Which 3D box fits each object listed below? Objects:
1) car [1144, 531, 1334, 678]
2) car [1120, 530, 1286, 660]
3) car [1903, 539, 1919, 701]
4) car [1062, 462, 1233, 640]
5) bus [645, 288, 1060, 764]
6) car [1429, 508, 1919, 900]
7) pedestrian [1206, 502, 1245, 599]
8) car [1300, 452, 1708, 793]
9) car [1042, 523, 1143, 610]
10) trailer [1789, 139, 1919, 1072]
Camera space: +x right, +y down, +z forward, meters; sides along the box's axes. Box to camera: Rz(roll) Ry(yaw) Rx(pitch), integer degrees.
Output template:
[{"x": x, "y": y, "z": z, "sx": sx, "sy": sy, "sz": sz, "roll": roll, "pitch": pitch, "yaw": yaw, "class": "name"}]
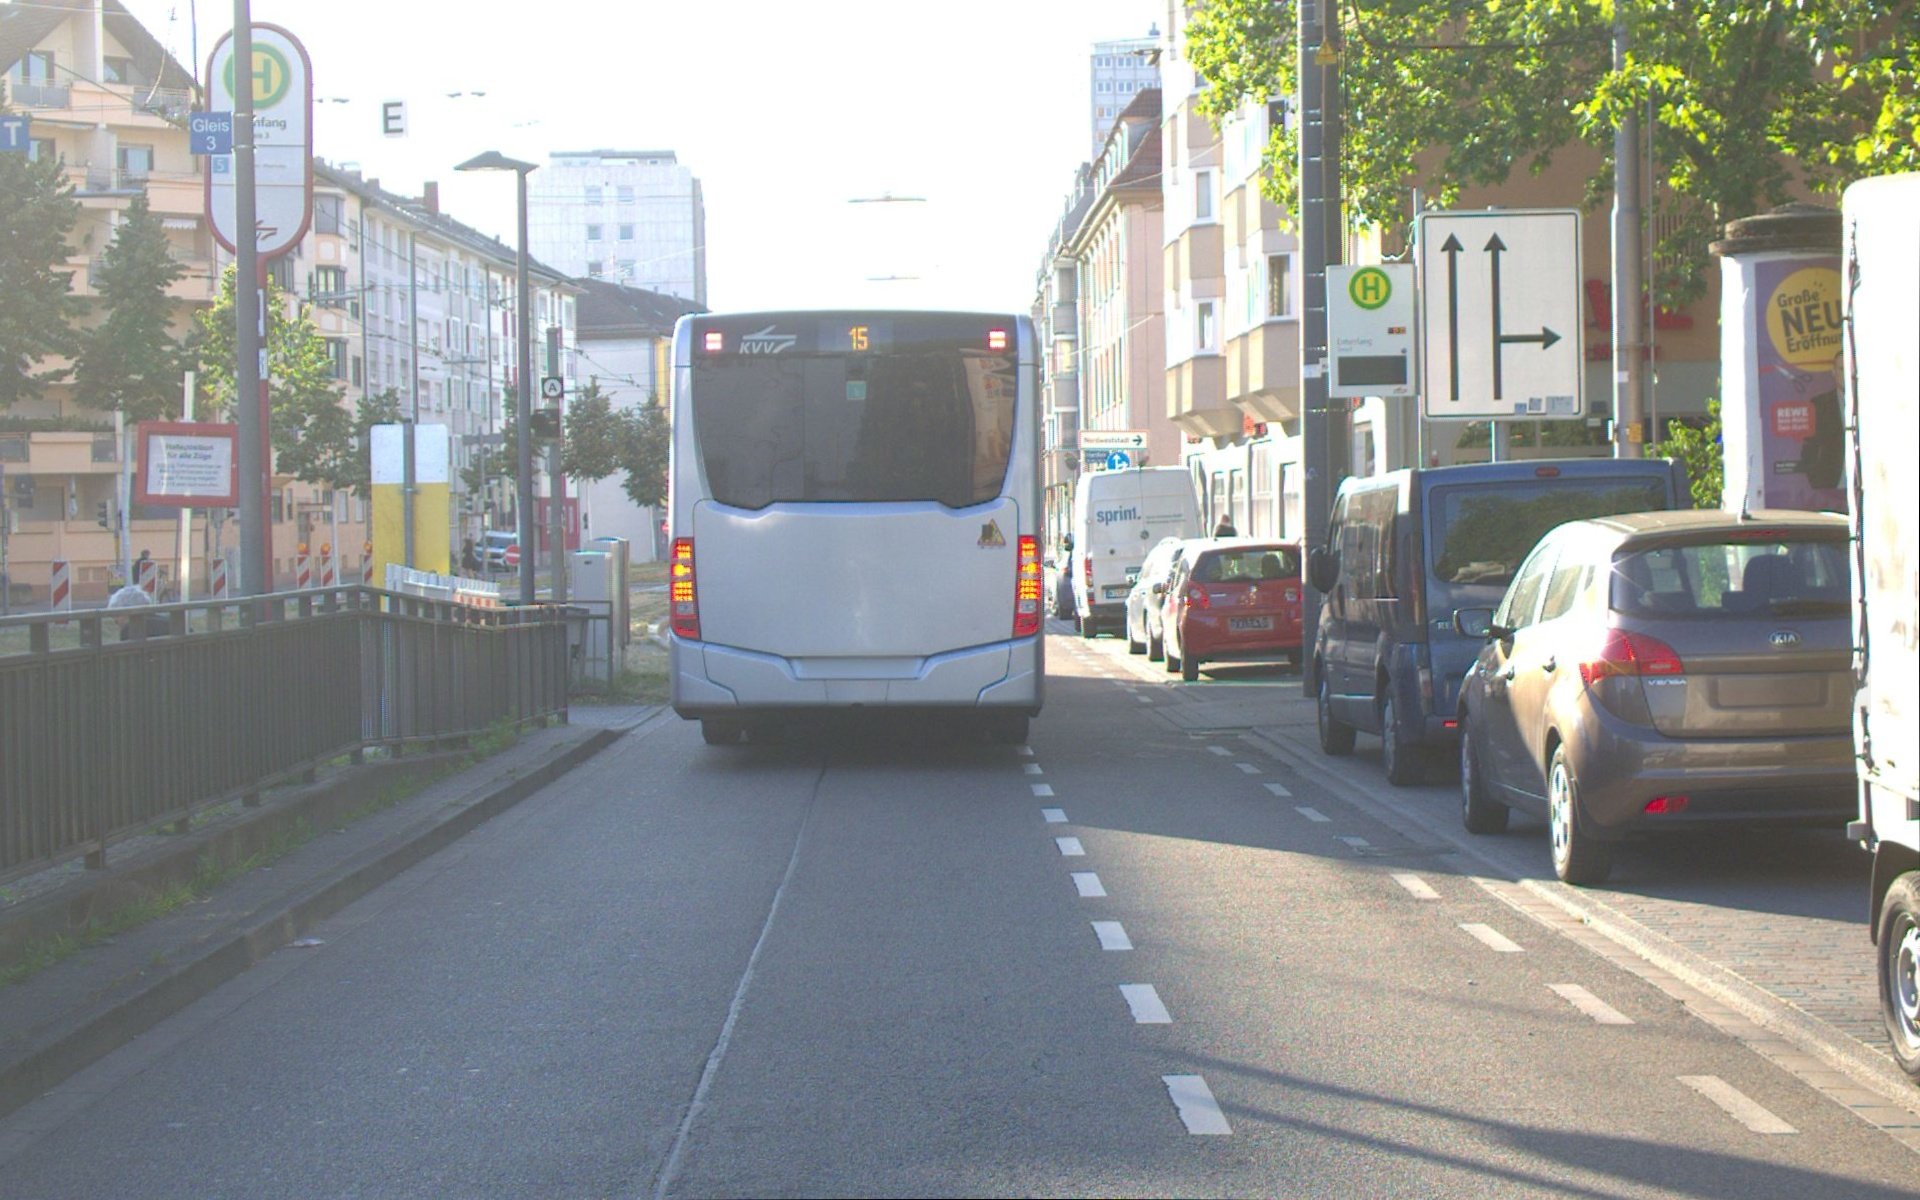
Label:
[{"x": 3.043, "y": 0.020, "z": 38.197, "sx": 1.671, "sy": 1.458, "sz": 3.933, "roll": -3, "pitch": 1, "yaw": -1, "class": "car"}, {"x": 2.994, "y": -0.085, "z": 43.036, "sx": 1.671, "sy": 1.458, "sz": 3.933, "roll": -3, "pitch": 1, "yaw": -1, "class": "car"}, {"x": 11.320, "y": 0.153, "z": 33.196, "sx": 3.920, "sy": 1.583, "sz": 1.706, "roll": -1, "pitch": 1, "yaw": 0, "class": "car"}, {"x": 2.891, "y": -0.774, "z": 54.145, "sx": 2.282, "sy": 2.618, "sz": 5.310, "roll": -1, "pitch": 1, "yaw": -1, "class": "car"}, {"x": -0.646, "y": -0.584, "z": 28.011, "sx": 2.733, "sy": 3.128, "sz": 10.703, "roll": 0, "pitch": 1, "yaw": 1, "class": "bus"}, {"x": 3.345, "y": 0.399, "z": 16.095, "sx": 1.700, "sy": 1.583, "sz": 3.828, "roll": -1, "pitch": 1, "yaw": -1, "class": "car"}, {"x": 5.366, "y": -0.995, "z": 69.543, "sx": 0.685, "sy": 1.940, "sz": 1.116, "roll": 0, "pitch": -1, "yaw": -1, "class": "pedestrian"}, {"x": 3.405, "y": 0.101, "z": 22.360, "sx": 1.847, "sy": 1.950, "sz": 4.544, "roll": -1, "pitch": 1, "yaw": -1, "class": "car"}, {"x": 2.499, "y": -0.657, "z": 65.563, "sx": 1.729, "sy": 1.569, "sz": 3.675, "roll": -1, "pitch": 1, "yaw": -1, "class": "car"}, {"x": 3.537, "y": 0.012, "z": 9.002, "sx": 1.832, "sy": 2.549, "sz": 3.319, "roll": -2, "pitch": 1, "yaw": -1, "class": "trailer"}]
